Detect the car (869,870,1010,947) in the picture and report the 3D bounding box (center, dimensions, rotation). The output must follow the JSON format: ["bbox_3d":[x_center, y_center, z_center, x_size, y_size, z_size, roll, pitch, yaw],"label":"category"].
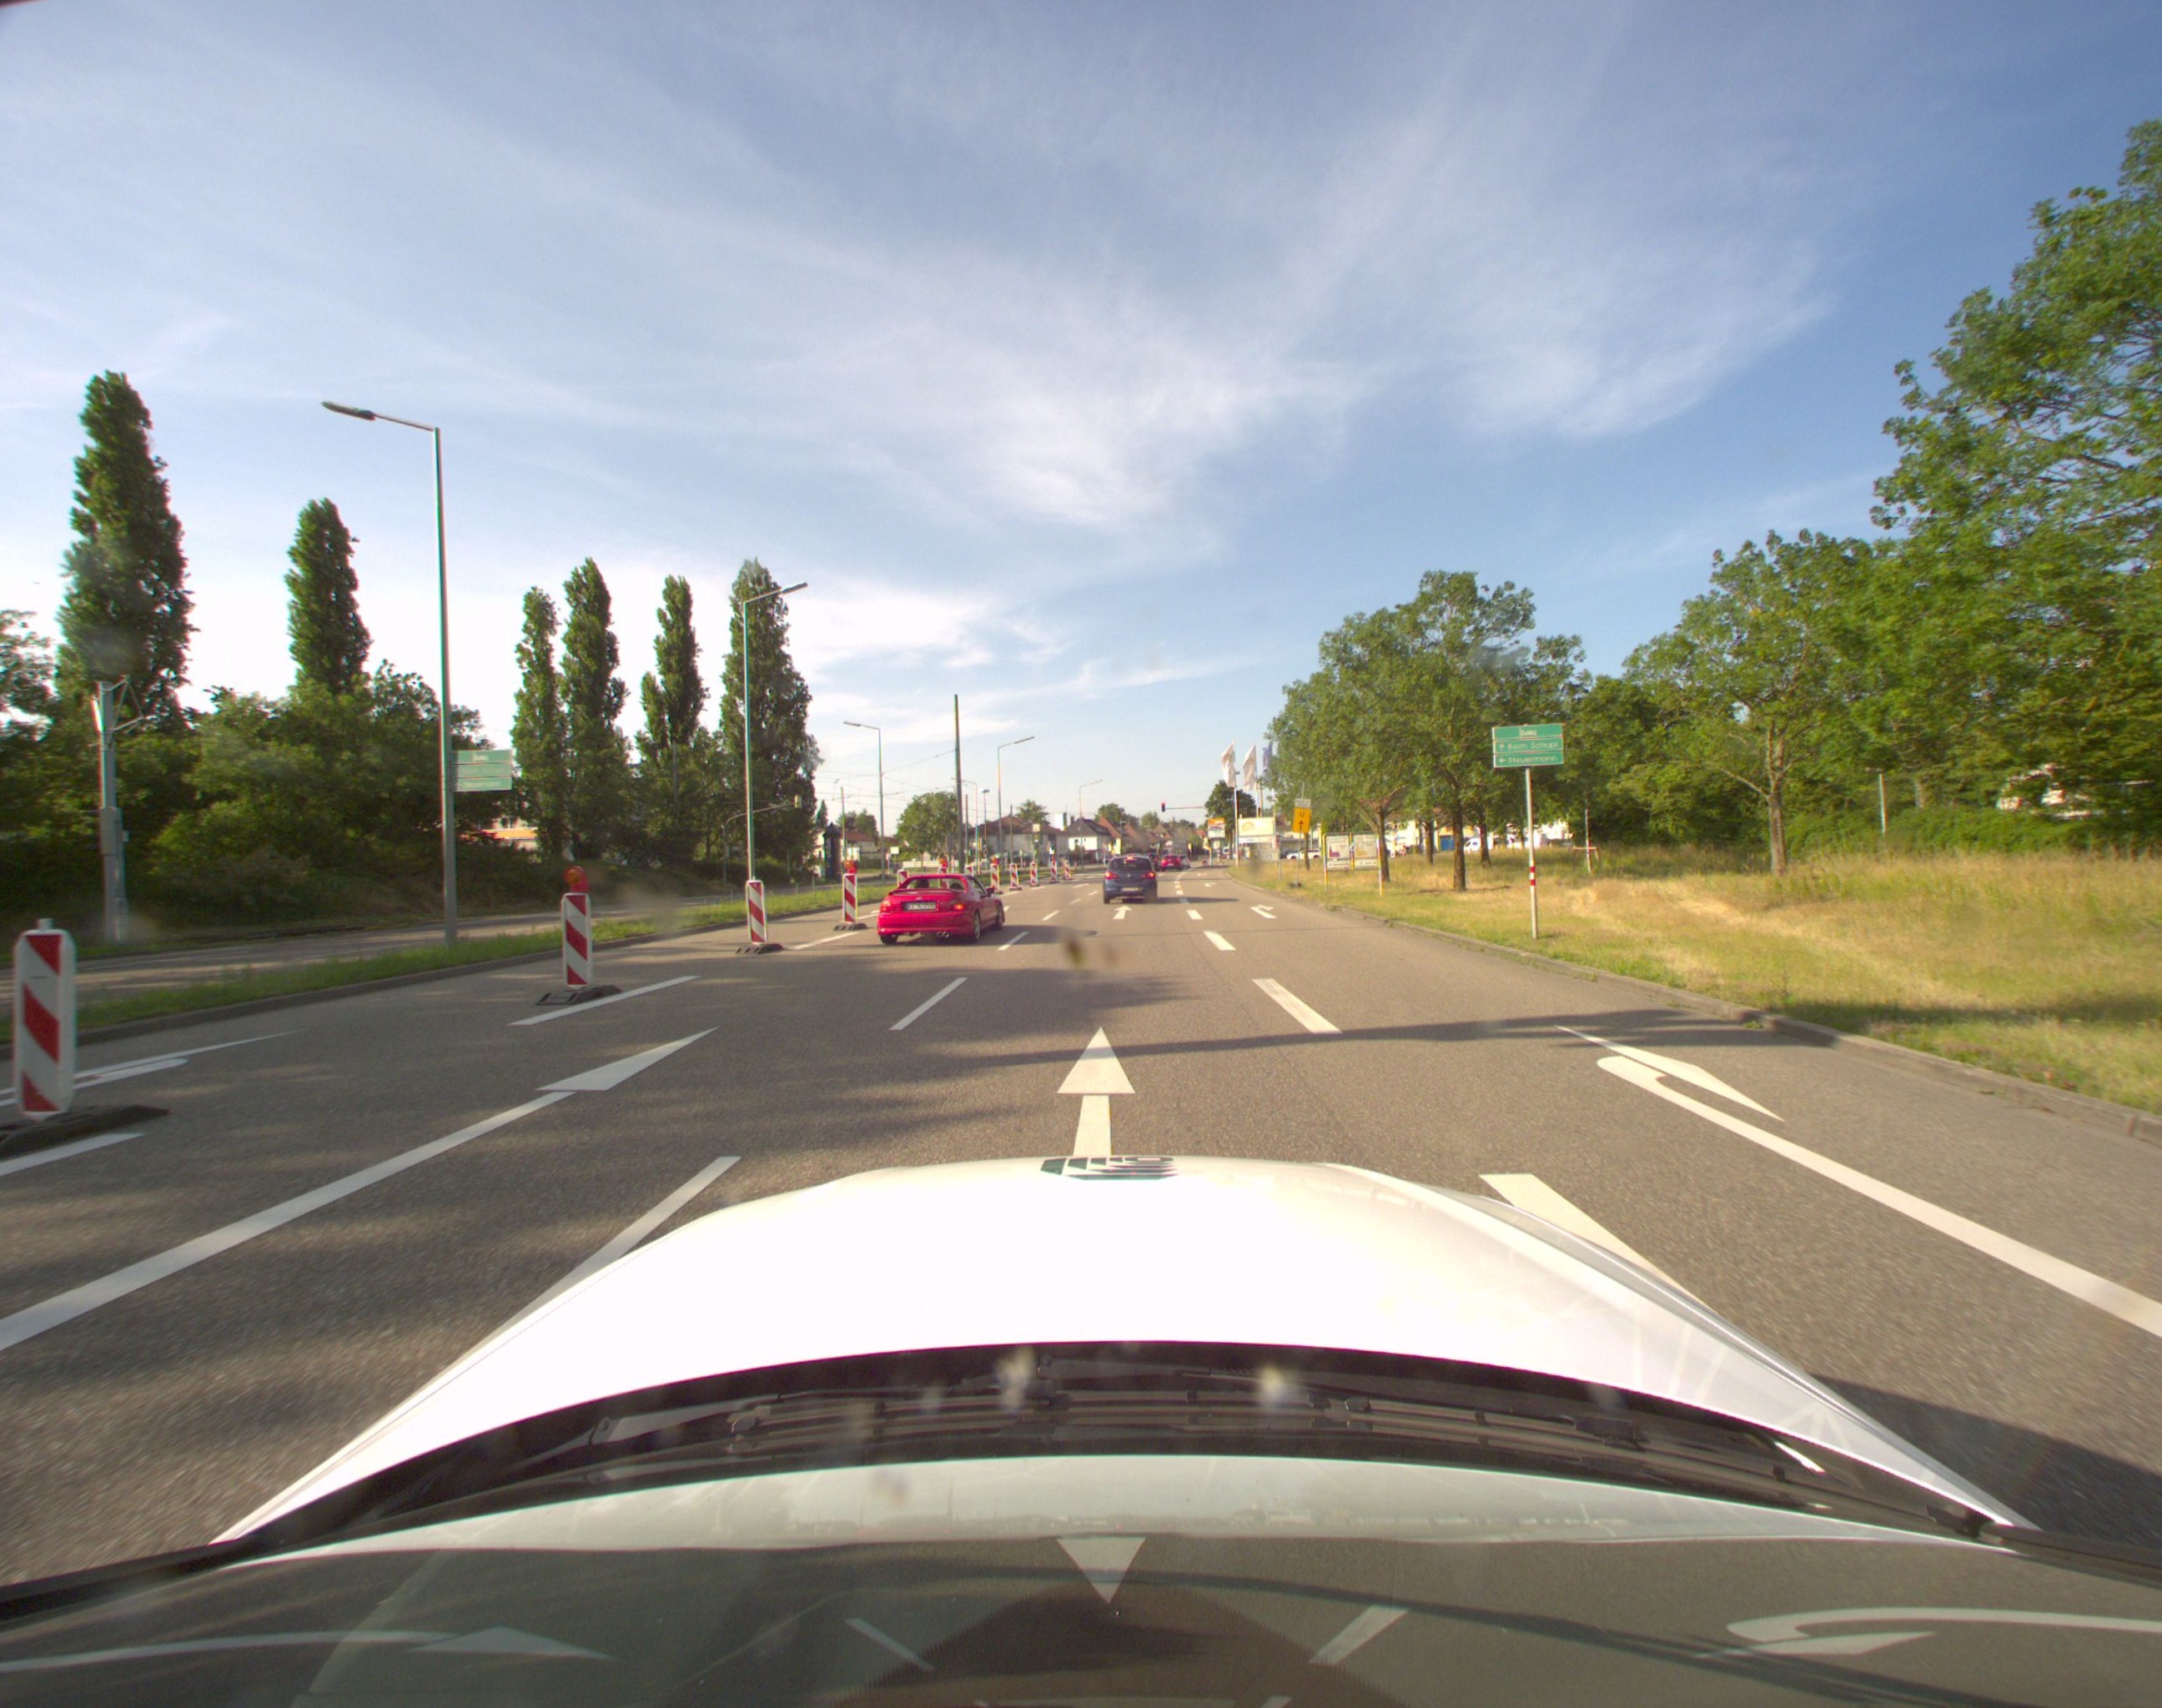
[{"bbox_3d":[-2.531,0.942,15.483,1.723,1.206,3.851,0,0,4],"label":"car"}]

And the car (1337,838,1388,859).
[{"bbox_3d":[37.334,-0.723,108.078,6.167,2.583,2.007,-2,-1,12],"label":"car"}]

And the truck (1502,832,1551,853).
[{"bbox_3d":[64.963,-1.684,118.824,1.904,2.854,6.014,-2,-1,-34],"label":"truck"}]

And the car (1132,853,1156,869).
[{"bbox_3d":[6.226,0.651,79.923,1.688,1.508,4.569,-1,0,13],"label":"car"}]

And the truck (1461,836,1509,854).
[{"bbox_3d":[59.067,-1.271,119.279,2.280,2.524,6.309,-2,0,-23],"label":"truck"}]

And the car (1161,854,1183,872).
[{"bbox_3d":[8.268,0.784,73.524,1.696,1.552,3.988,-2,0,9],"label":"car"}]

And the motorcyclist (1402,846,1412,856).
[{"bbox_3d":[42.513,-0.386,106.215,1.059,1.352,0.682,-2,-1,11],"label":"motorcyclist"}]

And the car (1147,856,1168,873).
[{"bbox_3d":[8.206,1.078,87.262,1.495,1.651,4.762,-2,0,14],"label":"car"}]

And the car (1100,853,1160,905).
[{"bbox_3d":[1.589,0.745,26.565,1.734,1.505,4.226,-2,0,3],"label":"car"}]

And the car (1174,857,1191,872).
[{"bbox_3d":[10.852,1.085,86.849,1.646,1.443,4.025,-2,0,10],"label":"car"}]

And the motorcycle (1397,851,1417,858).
[{"bbox_3d":[42.527,0.037,106.217,2.256,0.866,0.693,-2,-1,10],"label":"motorcycle"}]

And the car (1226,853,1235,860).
[{"bbox_3d":[29.172,0.540,158.905,1.663,1.398,4.013,-1,-1,12],"label":"car"}]

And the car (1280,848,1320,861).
[{"bbox_3d":[29.384,0.109,109.593,5.060,1.563,1.846,-2,-1,12],"label":"car"}]

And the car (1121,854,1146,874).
[{"bbox_3d":[4.598,0.854,71.187,1.753,1.670,4.094,-2,0,9],"label":"car"}]
